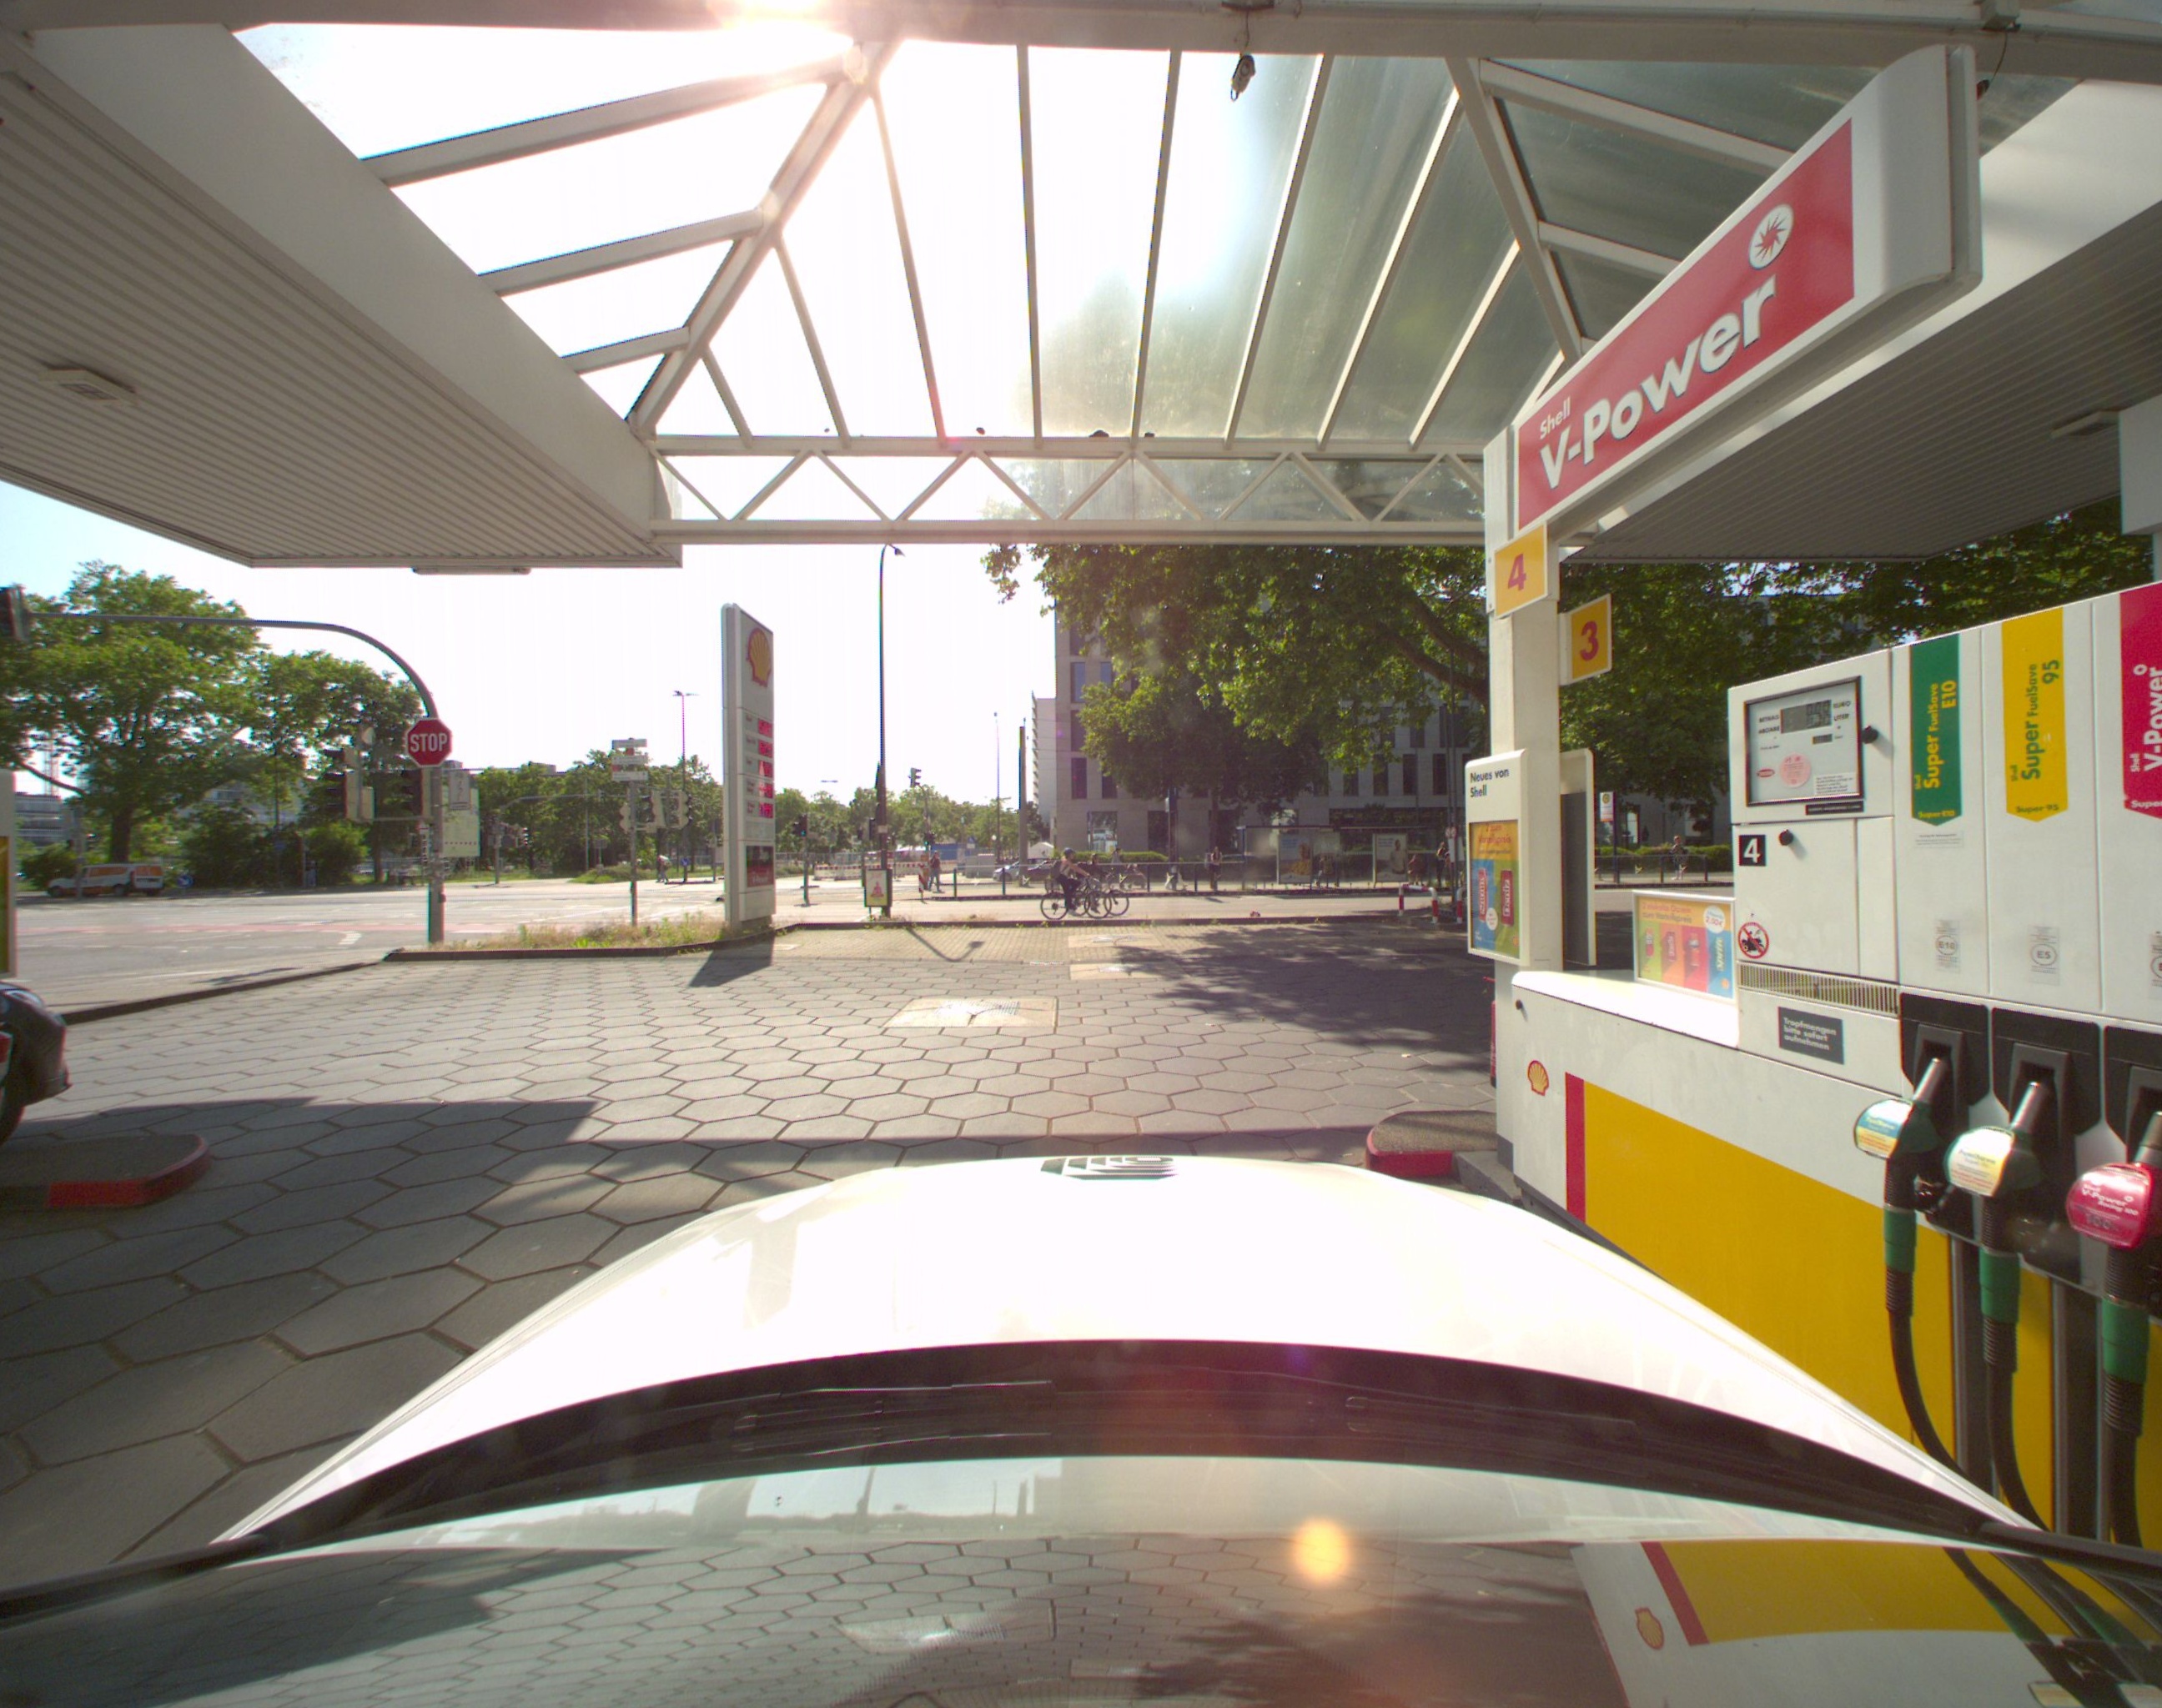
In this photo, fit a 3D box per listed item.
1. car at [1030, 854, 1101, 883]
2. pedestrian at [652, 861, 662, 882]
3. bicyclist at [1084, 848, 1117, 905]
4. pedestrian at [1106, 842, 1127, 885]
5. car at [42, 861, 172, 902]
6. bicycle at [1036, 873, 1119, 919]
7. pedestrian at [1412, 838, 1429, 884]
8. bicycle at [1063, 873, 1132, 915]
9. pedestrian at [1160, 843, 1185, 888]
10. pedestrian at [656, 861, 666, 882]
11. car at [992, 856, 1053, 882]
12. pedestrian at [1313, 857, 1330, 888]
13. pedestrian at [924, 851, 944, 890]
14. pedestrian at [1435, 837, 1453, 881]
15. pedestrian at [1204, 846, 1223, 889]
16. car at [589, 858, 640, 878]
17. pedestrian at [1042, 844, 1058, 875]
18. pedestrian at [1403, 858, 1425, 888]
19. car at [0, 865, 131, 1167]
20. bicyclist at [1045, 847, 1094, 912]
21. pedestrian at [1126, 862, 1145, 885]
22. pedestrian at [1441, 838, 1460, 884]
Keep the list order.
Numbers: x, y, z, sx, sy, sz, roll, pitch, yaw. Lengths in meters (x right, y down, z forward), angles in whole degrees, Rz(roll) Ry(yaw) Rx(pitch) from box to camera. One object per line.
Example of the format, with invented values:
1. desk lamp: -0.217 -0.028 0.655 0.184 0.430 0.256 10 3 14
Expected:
1. car: -0.937 0.819 47.199 3.983 1.552 1.699 -1 0 -7
2. pedestrian: -30.108 1.262 57.836 0.566 1.469 0.509 -1 0 -26
3. bicyclist: 0.525 0.610 22.194 0.861 1.544 0.534 -1 -1 -3
4. pedestrian: 1.399 0.380 32.012 0.772 1.683 0.504 -1 0 7
5. car: -53.971 1.500 45.201 4.424 2.013 1.997 -3 0 -5
6. bicycle: -0.097 1.041 20.348 2.016 1.082 0.638 -1 0 -6
7. pedestrian: 12.992 0.259 31.172 0.497 1.735 0.406 -1 0 1
8. bicycle: 0.439 1.080 22.147 1.856 1.082 0.524 -1 0 -3
9. pedestrian: 3.529 0.446 31.294 0.927 1.683 0.504 -1 0 7
10. pedestrian: -29.323 1.201 56.860 0.566 1.469 0.509 -1 0 -26
11. car: -3.624 0.905 50.150 3.678 1.552 1.588 -1 0 -7
12. pedestrian: 9.160 0.701 31.045 0.496 1.138 0.525 -1 0 5
13. pedestrian: -5.943 0.661 32.875 0.647 1.540 0.504 -1 0 7
14. pedestrian: 14.559 0.208 32.690 0.497 1.735 0.524 -1 0 1
15. pedestrian: 4.991 0.503 30.751 0.582 1.591 0.670 -1 1 -2
16. car: -47.435 1.393 82.914 3.971 1.816 2.001 -3 0 2
17. pedestrian: -2.216 0.384 58.891 1.105 2.248 1.102 -1 0 -1
18. pedestrian: 12.770 0.717 31.245 0.625 1.138 0.525 -1 0 5
19. car: -6.347 0.847 2.689 1.739 1.532 3.997 -2 0 -2
20. bicyclist: -0.299 0.636 20.338 1.167 1.580 0.639 -1 0 -5
21. pedestrian: 2.138 0.768 31.920 0.687 0.880 0.504 -1 0 7
22. pedestrian: 14.136 0.264 31.173 0.497 1.735 0.524 -1 0 1
